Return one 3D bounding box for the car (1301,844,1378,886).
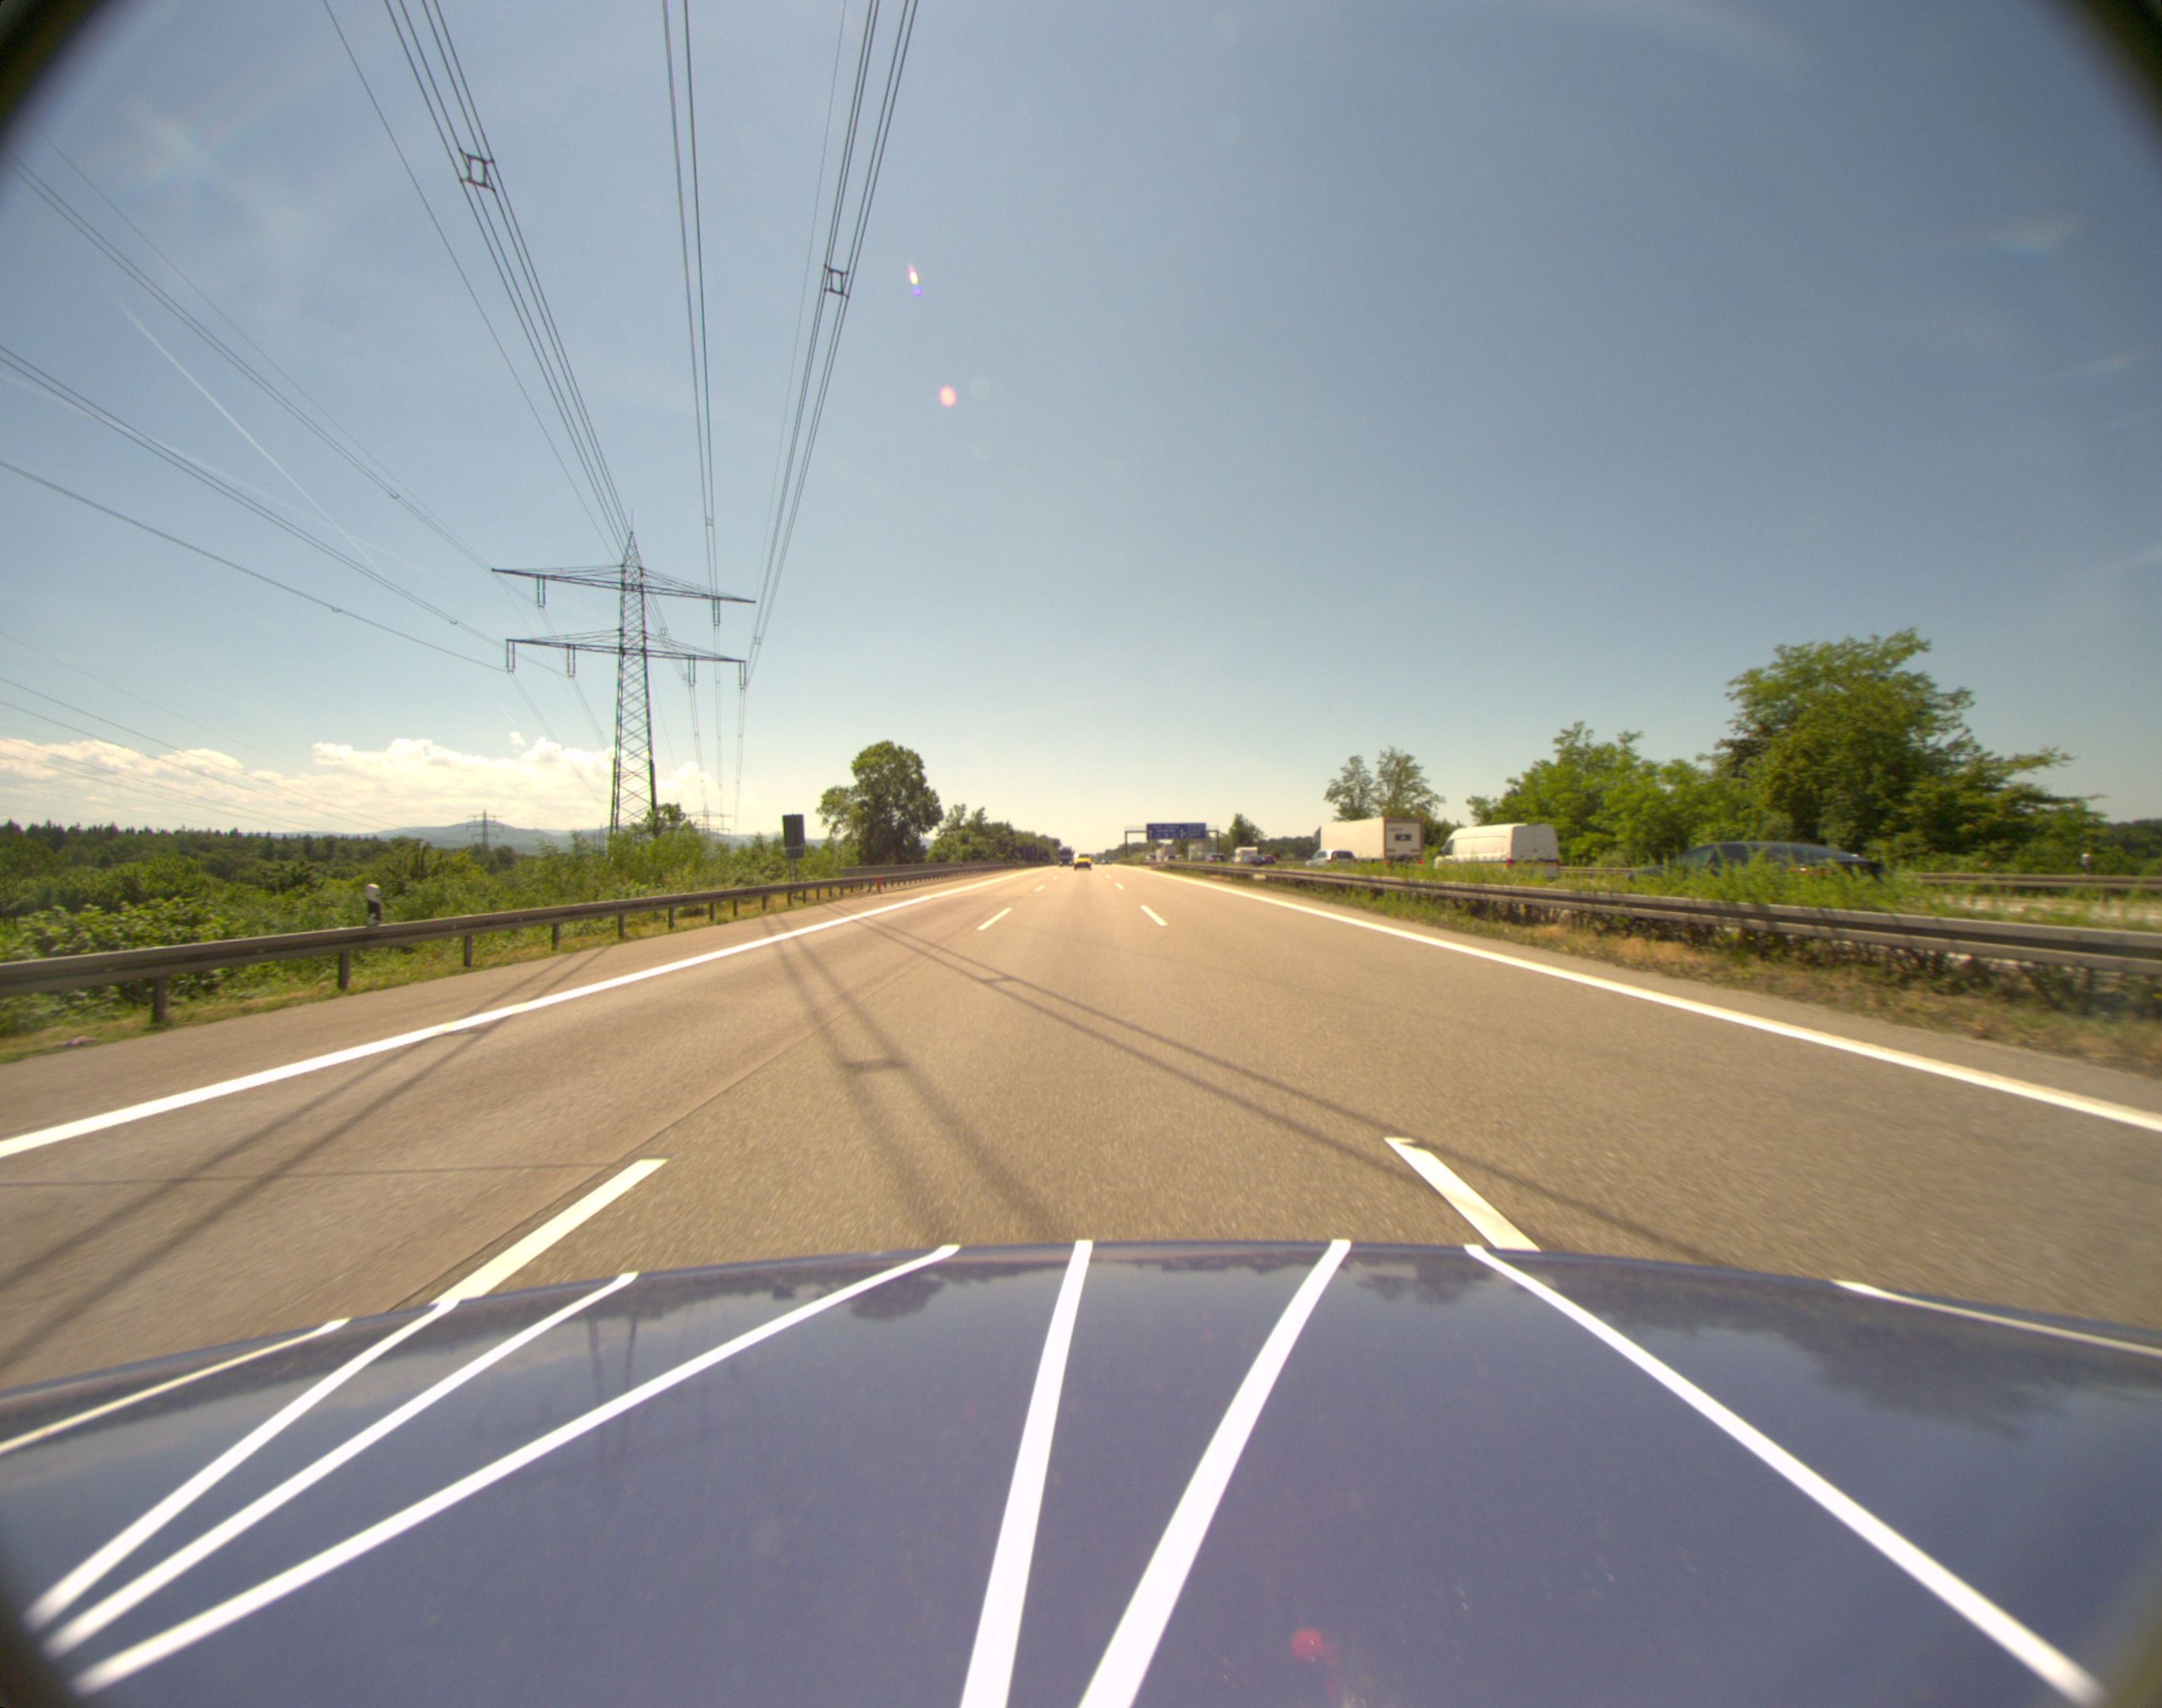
[{"bbox_3d":[13.651,0.538,40.448,2.489,2.002,4.557,-3,0,1],"label":"car"}]

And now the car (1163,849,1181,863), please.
[{"bbox_3d":[14.284,0.303,119.530,2.303,2.002,4.557,-3,0,1],"label":"car"}]

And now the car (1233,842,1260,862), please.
[{"bbox_3d":[21.765,-0.240,100.328,2.424,2.599,5.716,0,0,1],"label":"car"}]

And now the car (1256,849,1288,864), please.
[{"bbox_3d":[21.851,0.311,87.263,2.489,1.627,4.750,0,0,1],"label":"car"}]

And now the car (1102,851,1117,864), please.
[{"bbox_3d":[5.693,0.626,152.572,2.686,2.510,5.967,-1,0,1],"label":"car"}]

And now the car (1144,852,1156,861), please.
[{"bbox_3d":[14.448,0.445,158.254,2.080,1.781,5.108,0,0,1],"label":"car"}]

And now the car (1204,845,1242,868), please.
[{"bbox_3d":[13.187,0.197,71.076,2.489,1.920,5.739,-3,0,1],"label":"car"}]

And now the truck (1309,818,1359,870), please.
[{"bbox_3d":[21.252,-0.805,64.158,2.429,4.087,4.920,-3,0,0],"label":"truck"}]

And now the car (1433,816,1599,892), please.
[{"bbox_3d":[16.928,-0.008,30.248,2.489,2.564,7.121,-3,0,1],"label":"car"}]

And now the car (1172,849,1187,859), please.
[{"bbox_3d":[17.802,0.037,136.895,2.080,1.820,5.108,0,0,1],"label":"car"}]

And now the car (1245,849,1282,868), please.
[{"bbox_3d":[17.236,0.397,72.028,2.393,1.630,4.820,-3,0,1],"label":"car"}]

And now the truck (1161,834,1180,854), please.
[{"bbox_3d":[18.648,-2.146,158.087,2.863,3.896,9.494,-3,1,1],"label":"truck"}]

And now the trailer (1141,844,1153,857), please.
[{"bbox_3d":[23.084,-1.285,265.989,2.750,4.282,13.948,-3,0,0],"label":"trailer"}]

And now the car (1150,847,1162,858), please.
[{"bbox_3d":[17.665,-0.356,178.544,2.174,2.569,6.038,-1,0,1],"label":"car"}]

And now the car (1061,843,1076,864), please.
[{"bbox_3d":[-2.408,-0.083,145.257,2.686,3.723,6.271,-1,0,1],"label":"car"}]

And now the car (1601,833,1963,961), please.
[{"bbox_3d":[13.332,0.699,15.182,1.998,2.002,5.701,-3,0,1],"label":"car"}]

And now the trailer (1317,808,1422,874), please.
[{"bbox_3d":[21.171,-0.859,57.047,2.429,4.264,14.432,-3,0,1],"label":"trailer"}]

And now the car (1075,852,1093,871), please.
[{"bbox_3d":[0.368,0.773,84.896,1.955,2.002,5.433,-1,0,1],"label":"car"}]

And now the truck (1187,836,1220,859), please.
[{"bbox_3d":[21.826,-1.150,136.453,3.252,3.780,17.013,-3,0,1],"label":"truck"}]
